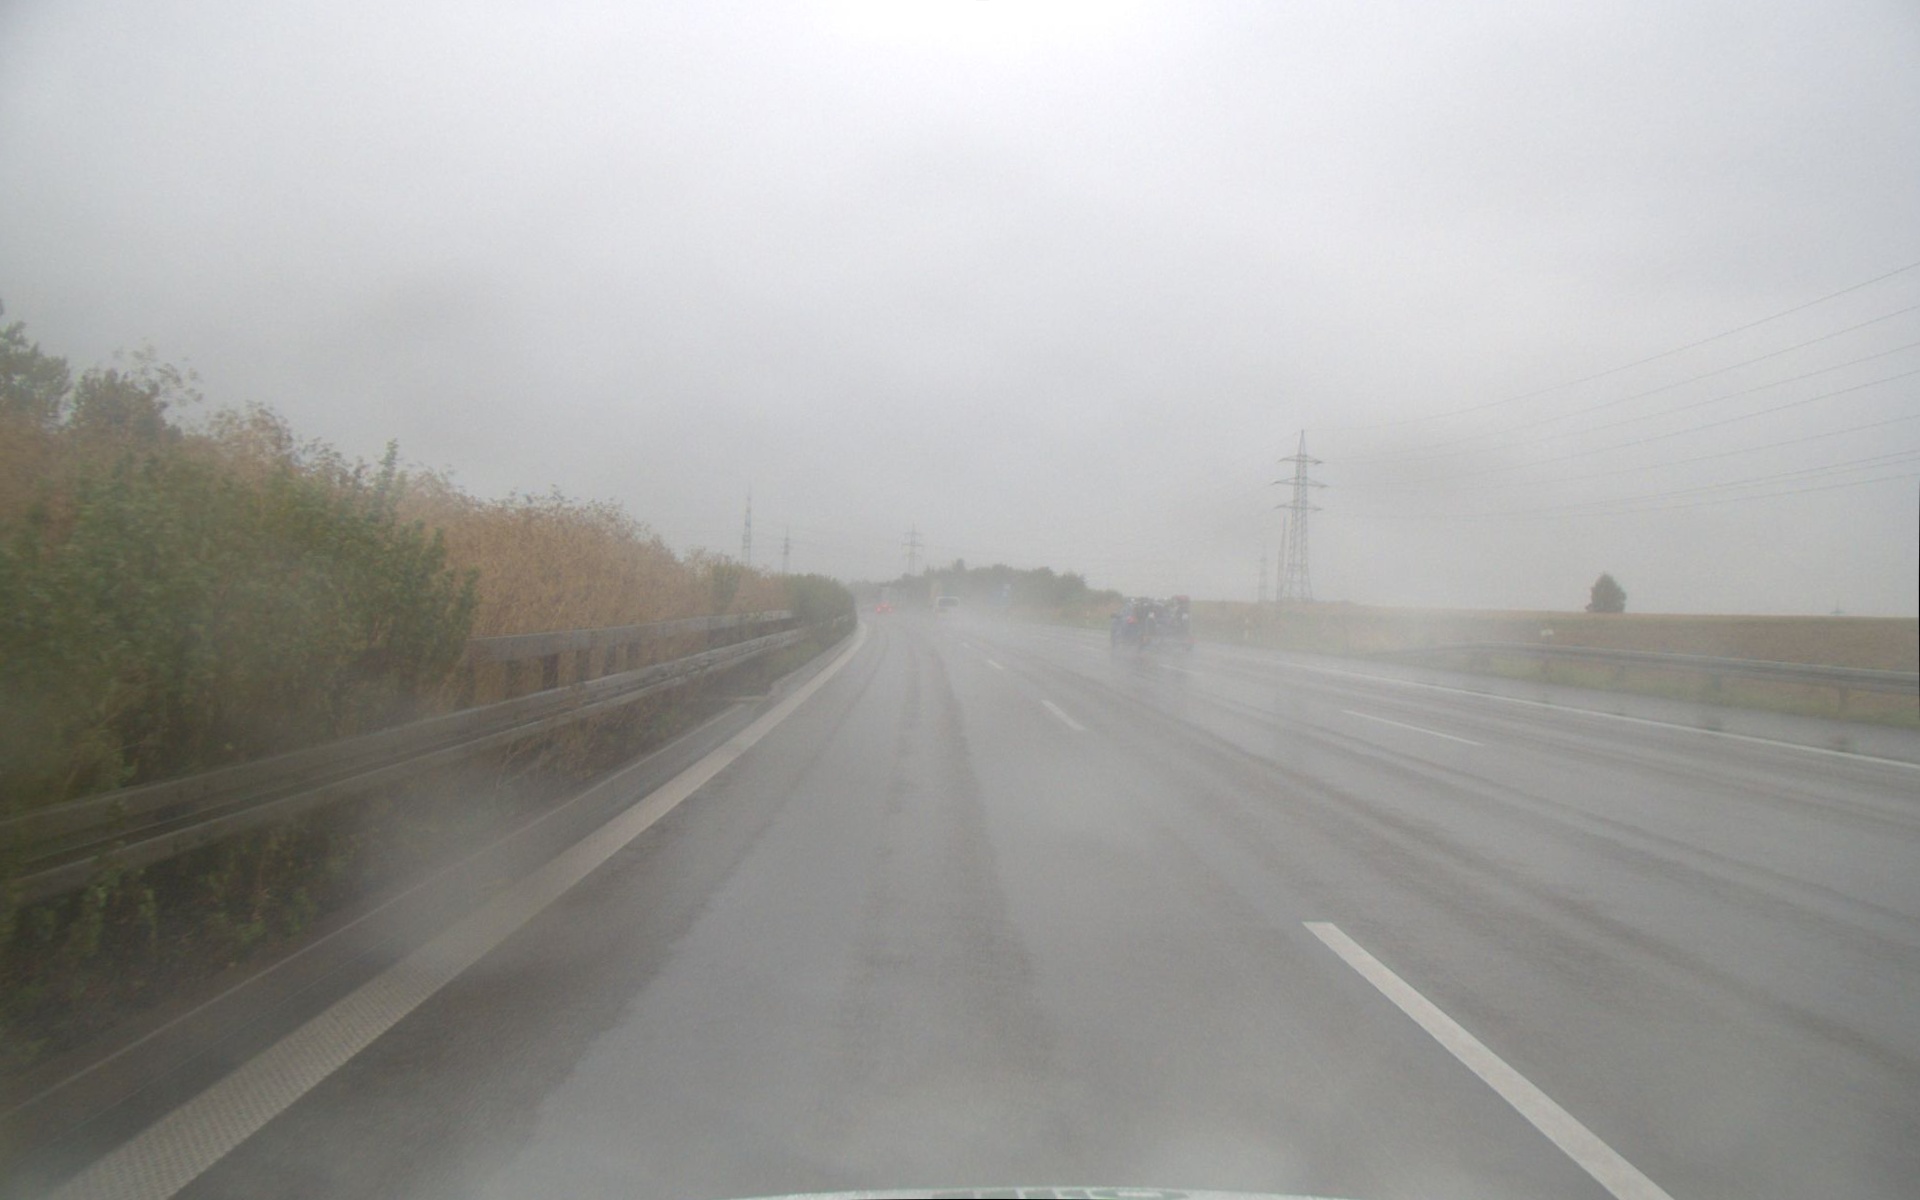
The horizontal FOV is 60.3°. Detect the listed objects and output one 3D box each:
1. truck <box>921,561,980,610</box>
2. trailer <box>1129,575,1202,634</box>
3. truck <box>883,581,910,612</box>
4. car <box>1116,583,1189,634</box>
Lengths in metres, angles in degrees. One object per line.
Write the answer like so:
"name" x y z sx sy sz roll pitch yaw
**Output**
"truck" -1.141 -1.351 173.112 4.110 4.711 16.076 1 -1 -8
"trailer" 6.568 0.176 53.230 1.938 1.816 3.188 1 -1 0
"truck" -9.386 -0.500 243.299 3.171 4.387 8.824 1 0 -6
"car" 6.600 0.331 57.310 1.952 1.647 4.992 1 -1 0
